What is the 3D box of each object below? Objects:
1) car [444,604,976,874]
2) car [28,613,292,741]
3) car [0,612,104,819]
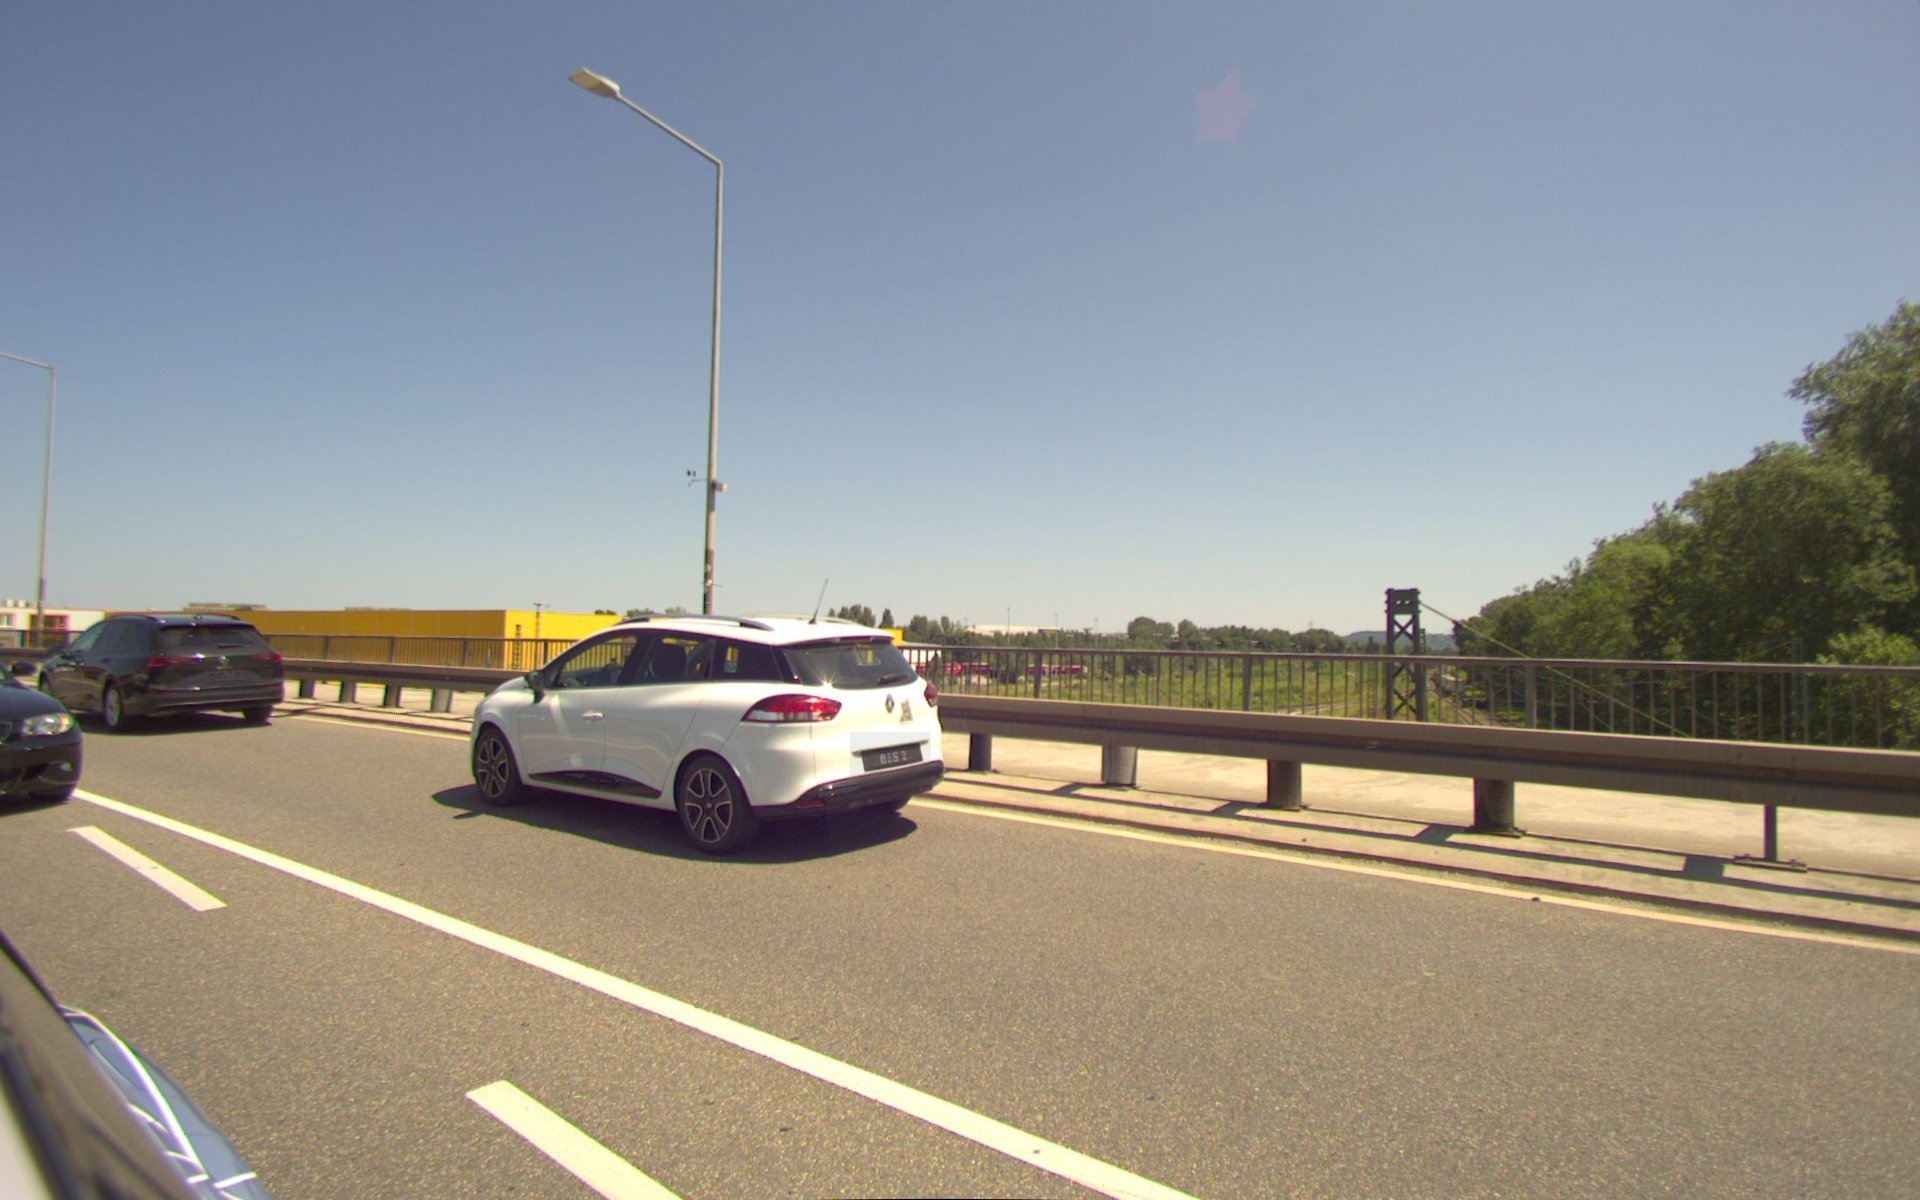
[{"bbox_3d":[-1.971,0.786,7.362,4.049,1.460,1.584,-1,-1,37],"label":"car"},{"bbox_3d":[-10.969,0.938,13.775,4.451,1.480,1.695,-1,-1,36],"label":"car"},{"bbox_3d":[-8.823,0.839,8.234,4.513,1.466,1.774,-1,-1,35],"label":"car"}]
